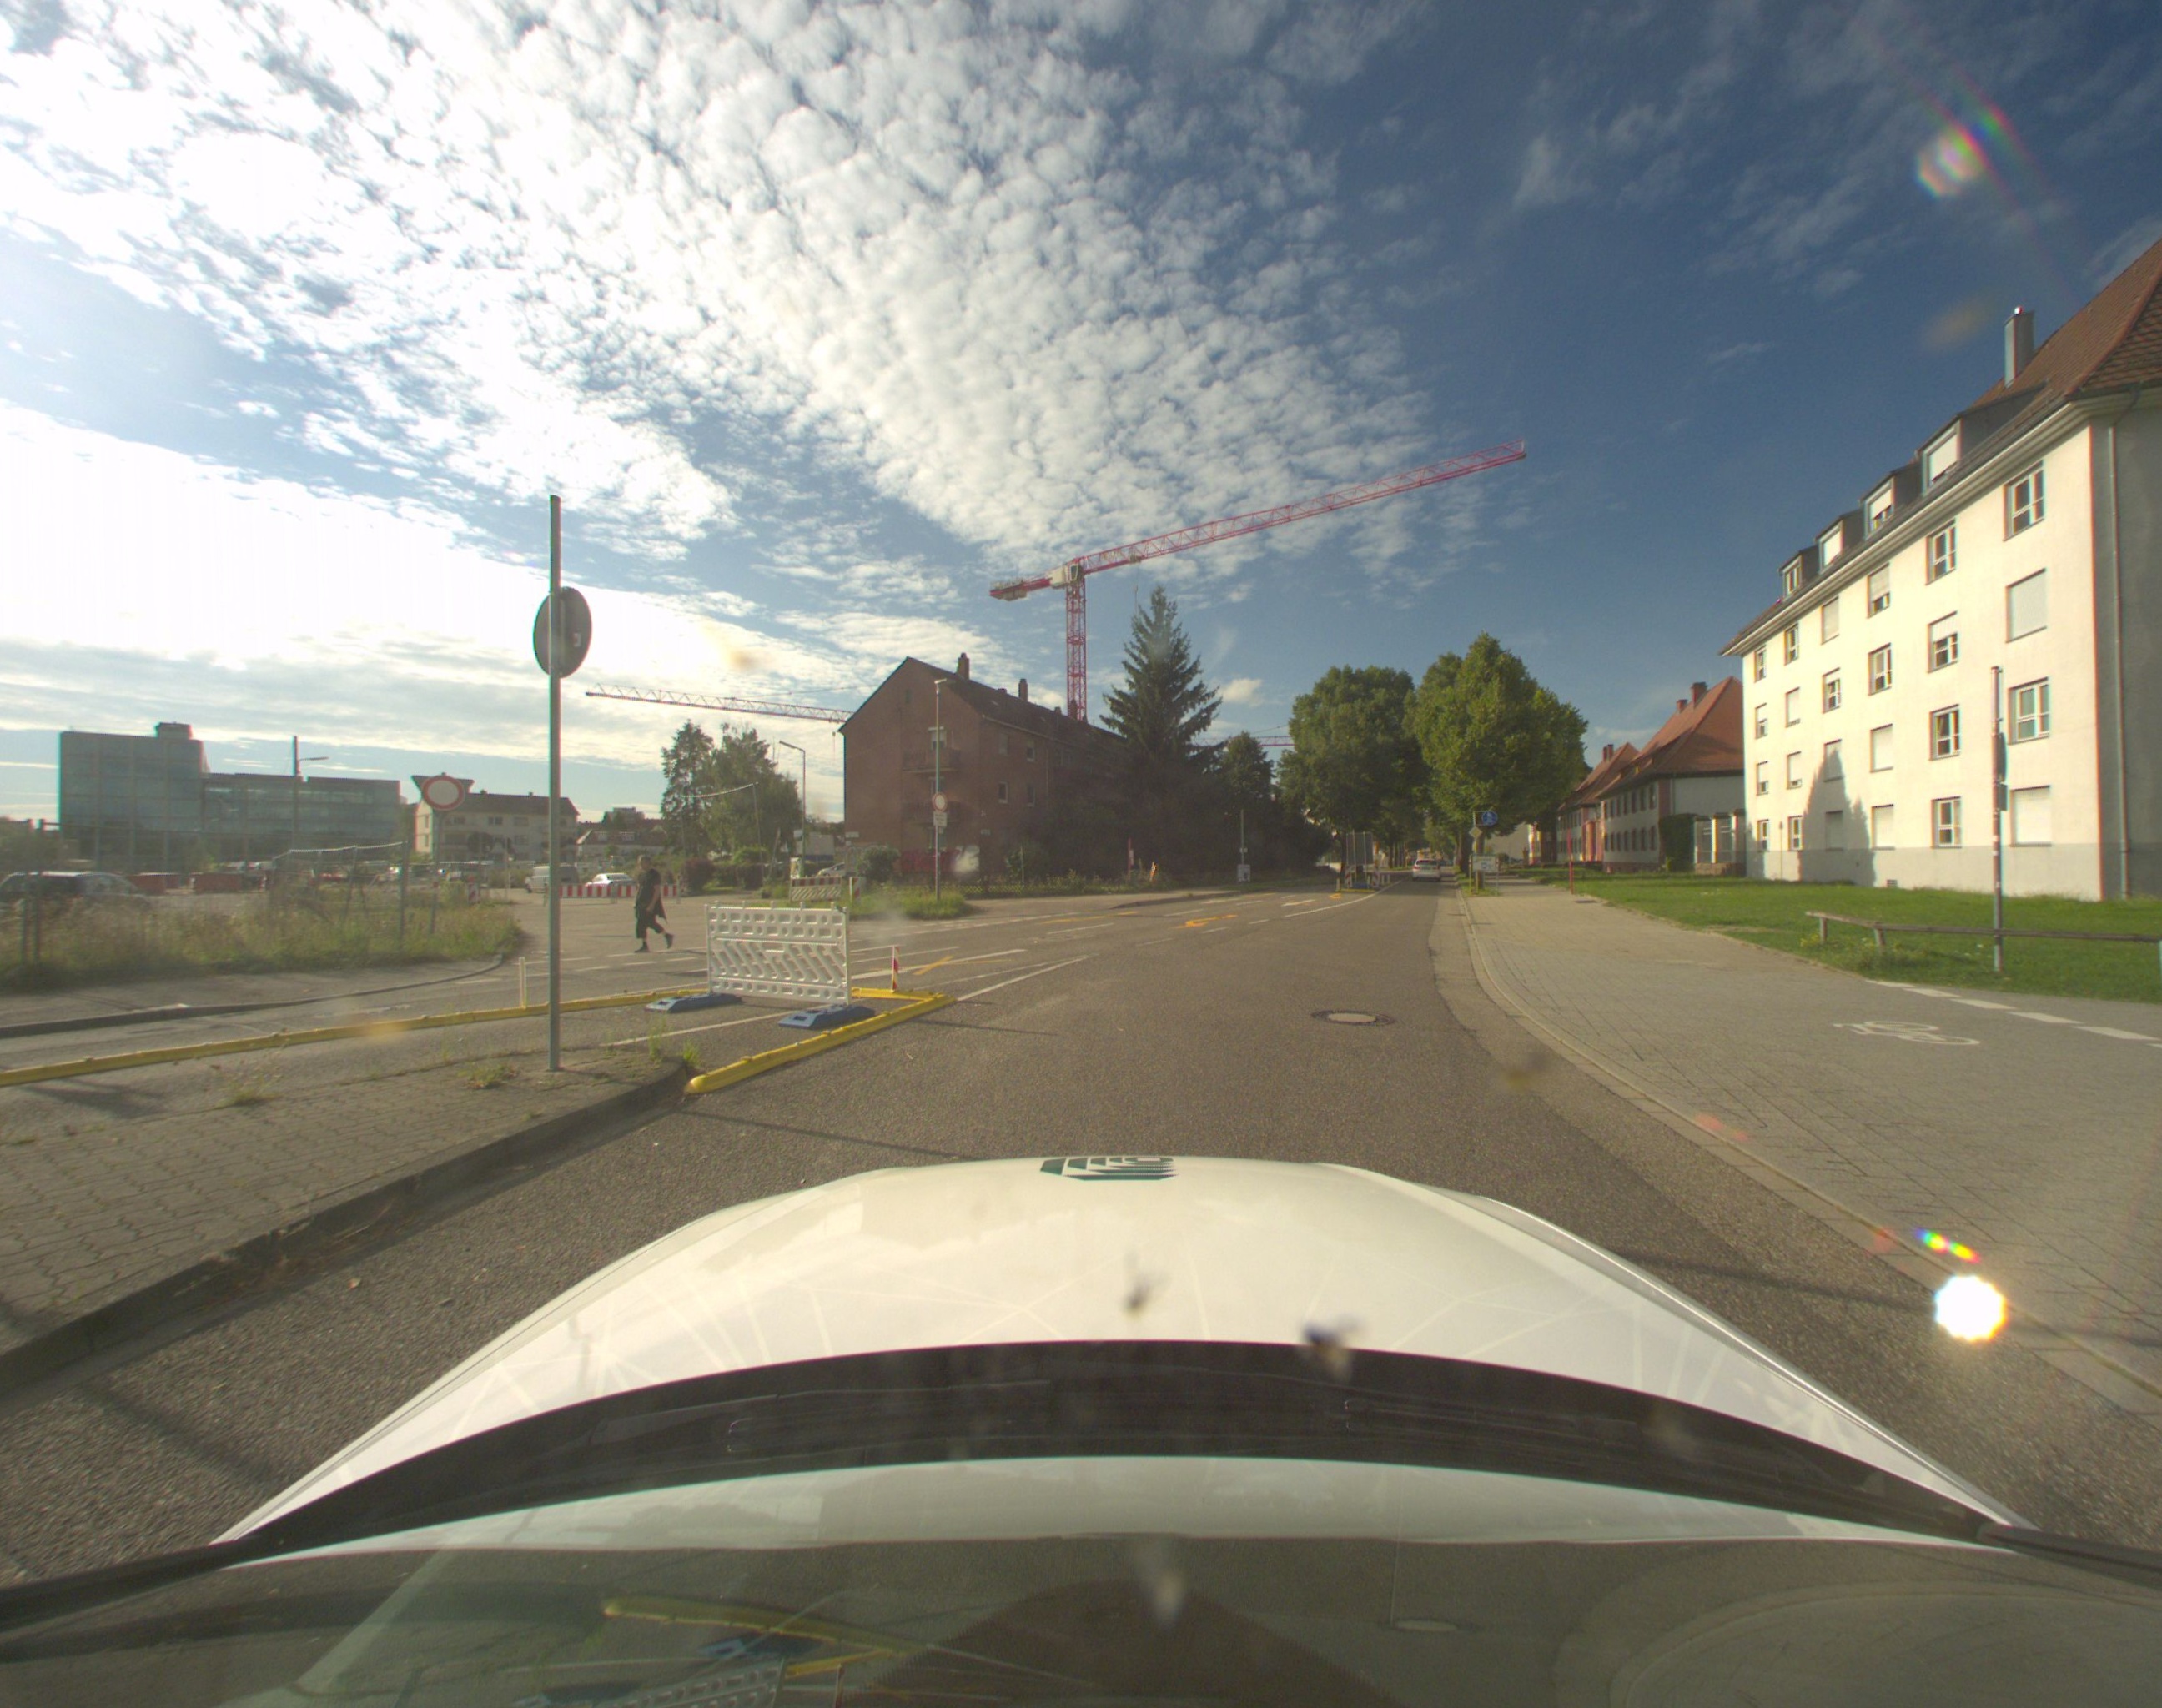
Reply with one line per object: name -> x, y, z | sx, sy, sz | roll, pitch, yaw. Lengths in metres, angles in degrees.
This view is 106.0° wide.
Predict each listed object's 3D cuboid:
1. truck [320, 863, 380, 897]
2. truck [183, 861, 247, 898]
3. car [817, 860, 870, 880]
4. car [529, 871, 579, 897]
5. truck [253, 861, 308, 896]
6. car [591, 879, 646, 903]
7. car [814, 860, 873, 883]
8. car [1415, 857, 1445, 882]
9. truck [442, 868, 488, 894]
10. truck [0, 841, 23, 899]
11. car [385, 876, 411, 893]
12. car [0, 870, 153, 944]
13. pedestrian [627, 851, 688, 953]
truck -> -52.675, 1.823, 58.662 | 5.566, 2.328, 2.307 | -1, -1, 39
truck -> -57.380, 1.666, 53.918 | 6.369, 2.328, 2.349 | -1, -1, 39
car -> -19.255, 1.278, 66.068 | 4.001, 1.618, 1.761 | 0, -1, -21
car -> -37.409, 2.101, 57.741 | 3.948, 1.816, 1.897 | -1, -1, 40
truck -> -55.331, 1.666, 56.257 | 5.566, 2.328, 2.076 | -1, -1, 39
car -> -28.802, 2.268, 50.698 | 3.948, 1.393, 1.732 | -1, -1, 40
car -> -17.608, 1.271, 60.549 | 3.987, 1.618, 1.767 | 0, -1, -10
car -> 23.760, 1.039, 55.526 | 1.834, 1.572, 4.478 | 0, -1, 23
truck -> -53.659, 2.318, 70.886 | 5.336, 2.172, 1.993 | -1, -1, 40
truck -> -62.825, 0.915, 46.485 | 7.221, 3.207, 2.834 | -1, -1, 39
car -> -75.545, 3.347, 90.067 | 2.011, 1.860, 3.952 | 0, -1, -42
car -> -27.485, 1.358, 22.219 | 1.893, 1.816, 3.958 | 0, -1, -34
pedestrian -> -8.025, 0.892, 15.454 | 0.663, 1.871, 0.837 | -1, -1, 8
